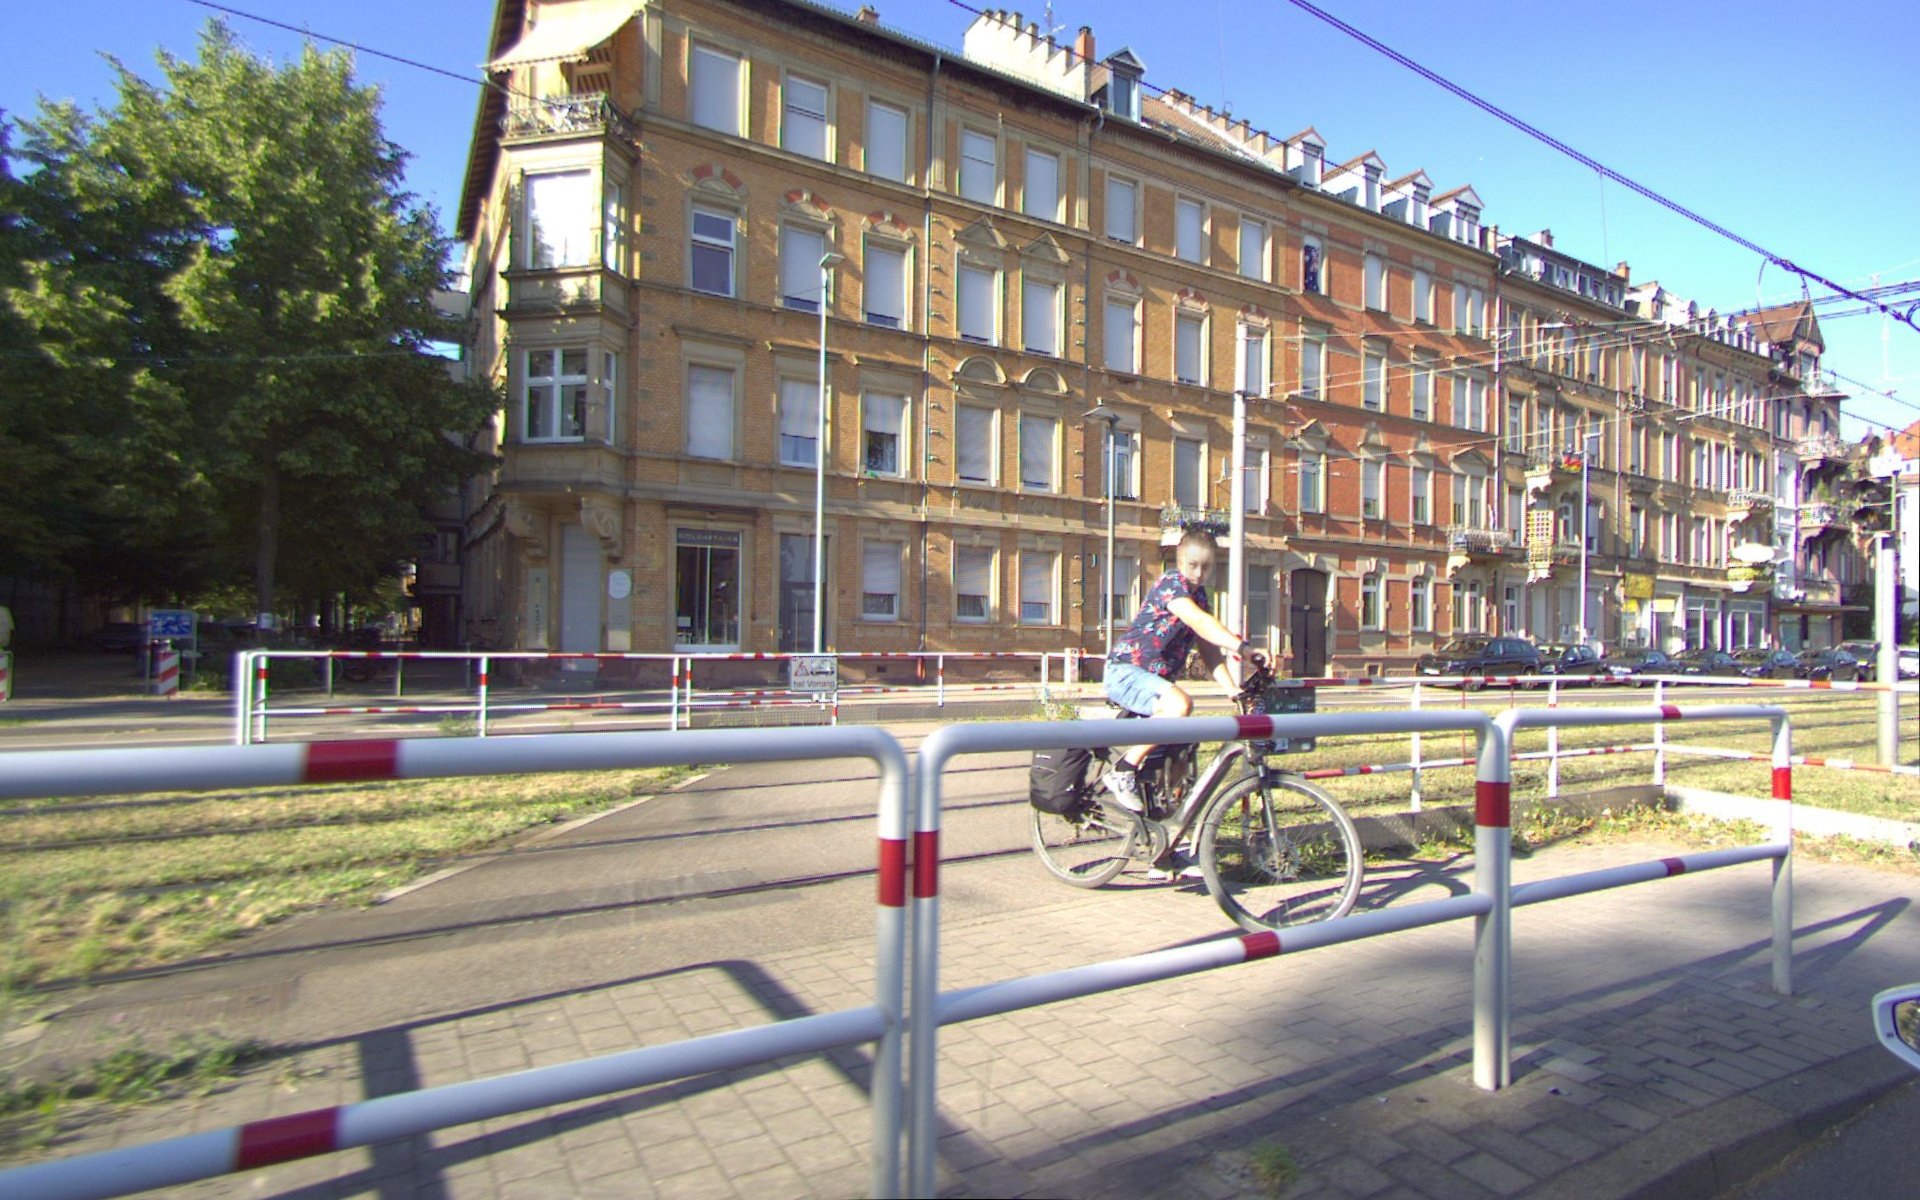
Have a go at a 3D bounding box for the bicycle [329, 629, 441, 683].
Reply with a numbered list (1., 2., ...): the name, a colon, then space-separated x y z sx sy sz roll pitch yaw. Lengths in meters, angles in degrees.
1. bicycle: -13.411 1.306 23.490 2.214 1.194 0.781 2 0 -30

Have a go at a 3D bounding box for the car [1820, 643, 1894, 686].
1. car: 42.441 3.016 47.526 3.855 1.879 1.554 1 1 -31

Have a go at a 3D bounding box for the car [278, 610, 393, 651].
1. car: -32.492 1.607 52.361 4.958 1.943 2.048 2 0 -34

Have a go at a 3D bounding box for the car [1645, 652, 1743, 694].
1. car: 28.878 2.826 39.486 3.864 1.425 1.767 1 1 -31

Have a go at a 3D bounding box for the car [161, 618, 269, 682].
1. car: -19.821 1.295 26.899 1.979 1.491 4.154 3 -1 -33

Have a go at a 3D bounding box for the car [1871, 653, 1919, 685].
1. car: 48.160 3.490 51.208 3.623 1.477 1.554 1 1 -31

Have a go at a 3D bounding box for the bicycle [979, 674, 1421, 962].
1. bicycle: 1.105 0.922 4.827 1.926 1.054 0.764 -1 -2 34

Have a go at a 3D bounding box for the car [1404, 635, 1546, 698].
1. car: 16.543 2.076 32.222 4.506 1.777 2.005 1 1 -31

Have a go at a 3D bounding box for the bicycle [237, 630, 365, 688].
1. bicycle: -14.542 1.297 22.237 2.206 1.194 0.784 2 0 -19

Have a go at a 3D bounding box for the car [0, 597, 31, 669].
1. car: -27.562 0.851 25.815 2.026 1.943 5.011 2 0 18

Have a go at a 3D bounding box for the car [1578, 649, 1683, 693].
1. car: 24.726 2.571 37.035 3.864 1.425 1.767 1 1 -31

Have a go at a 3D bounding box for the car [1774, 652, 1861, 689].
1. car: 37.856 3.075 44.346 3.934 1.425 1.767 1 1 -31

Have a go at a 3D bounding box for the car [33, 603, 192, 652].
1. car: -36.718 1.178 43.612 2.036 1.943 4.987 2 0 40

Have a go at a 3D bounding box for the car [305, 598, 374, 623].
1. car: -53.488 0.933 86.560 4.958 1.943 2.048 2 0 -34

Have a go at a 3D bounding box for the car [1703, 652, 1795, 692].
1. car: 32.759 2.943 41.694 3.864 1.425 1.767 1 1 -31

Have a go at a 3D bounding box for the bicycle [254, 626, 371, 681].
1. bicycle: -15.030 1.244 23.379 2.216 1.194 0.780 2 0 -33

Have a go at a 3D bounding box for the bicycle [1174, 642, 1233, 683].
1. bicycle: 7.481 1.919 30.850 1.731 1.196 0.695 2 0 -31

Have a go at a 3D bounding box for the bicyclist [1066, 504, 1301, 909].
1. bicyclist: 1.098 0.471 4.897 0.907 1.738 0.764 -1 -2 34

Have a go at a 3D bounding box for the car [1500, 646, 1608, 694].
1. car: 20.464 2.387 34.590 3.492 1.486 1.766 2 0 -31

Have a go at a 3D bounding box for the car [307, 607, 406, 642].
1. car: -36.235 1.494 60.368 4.958 1.943 2.048 2 0 -34
